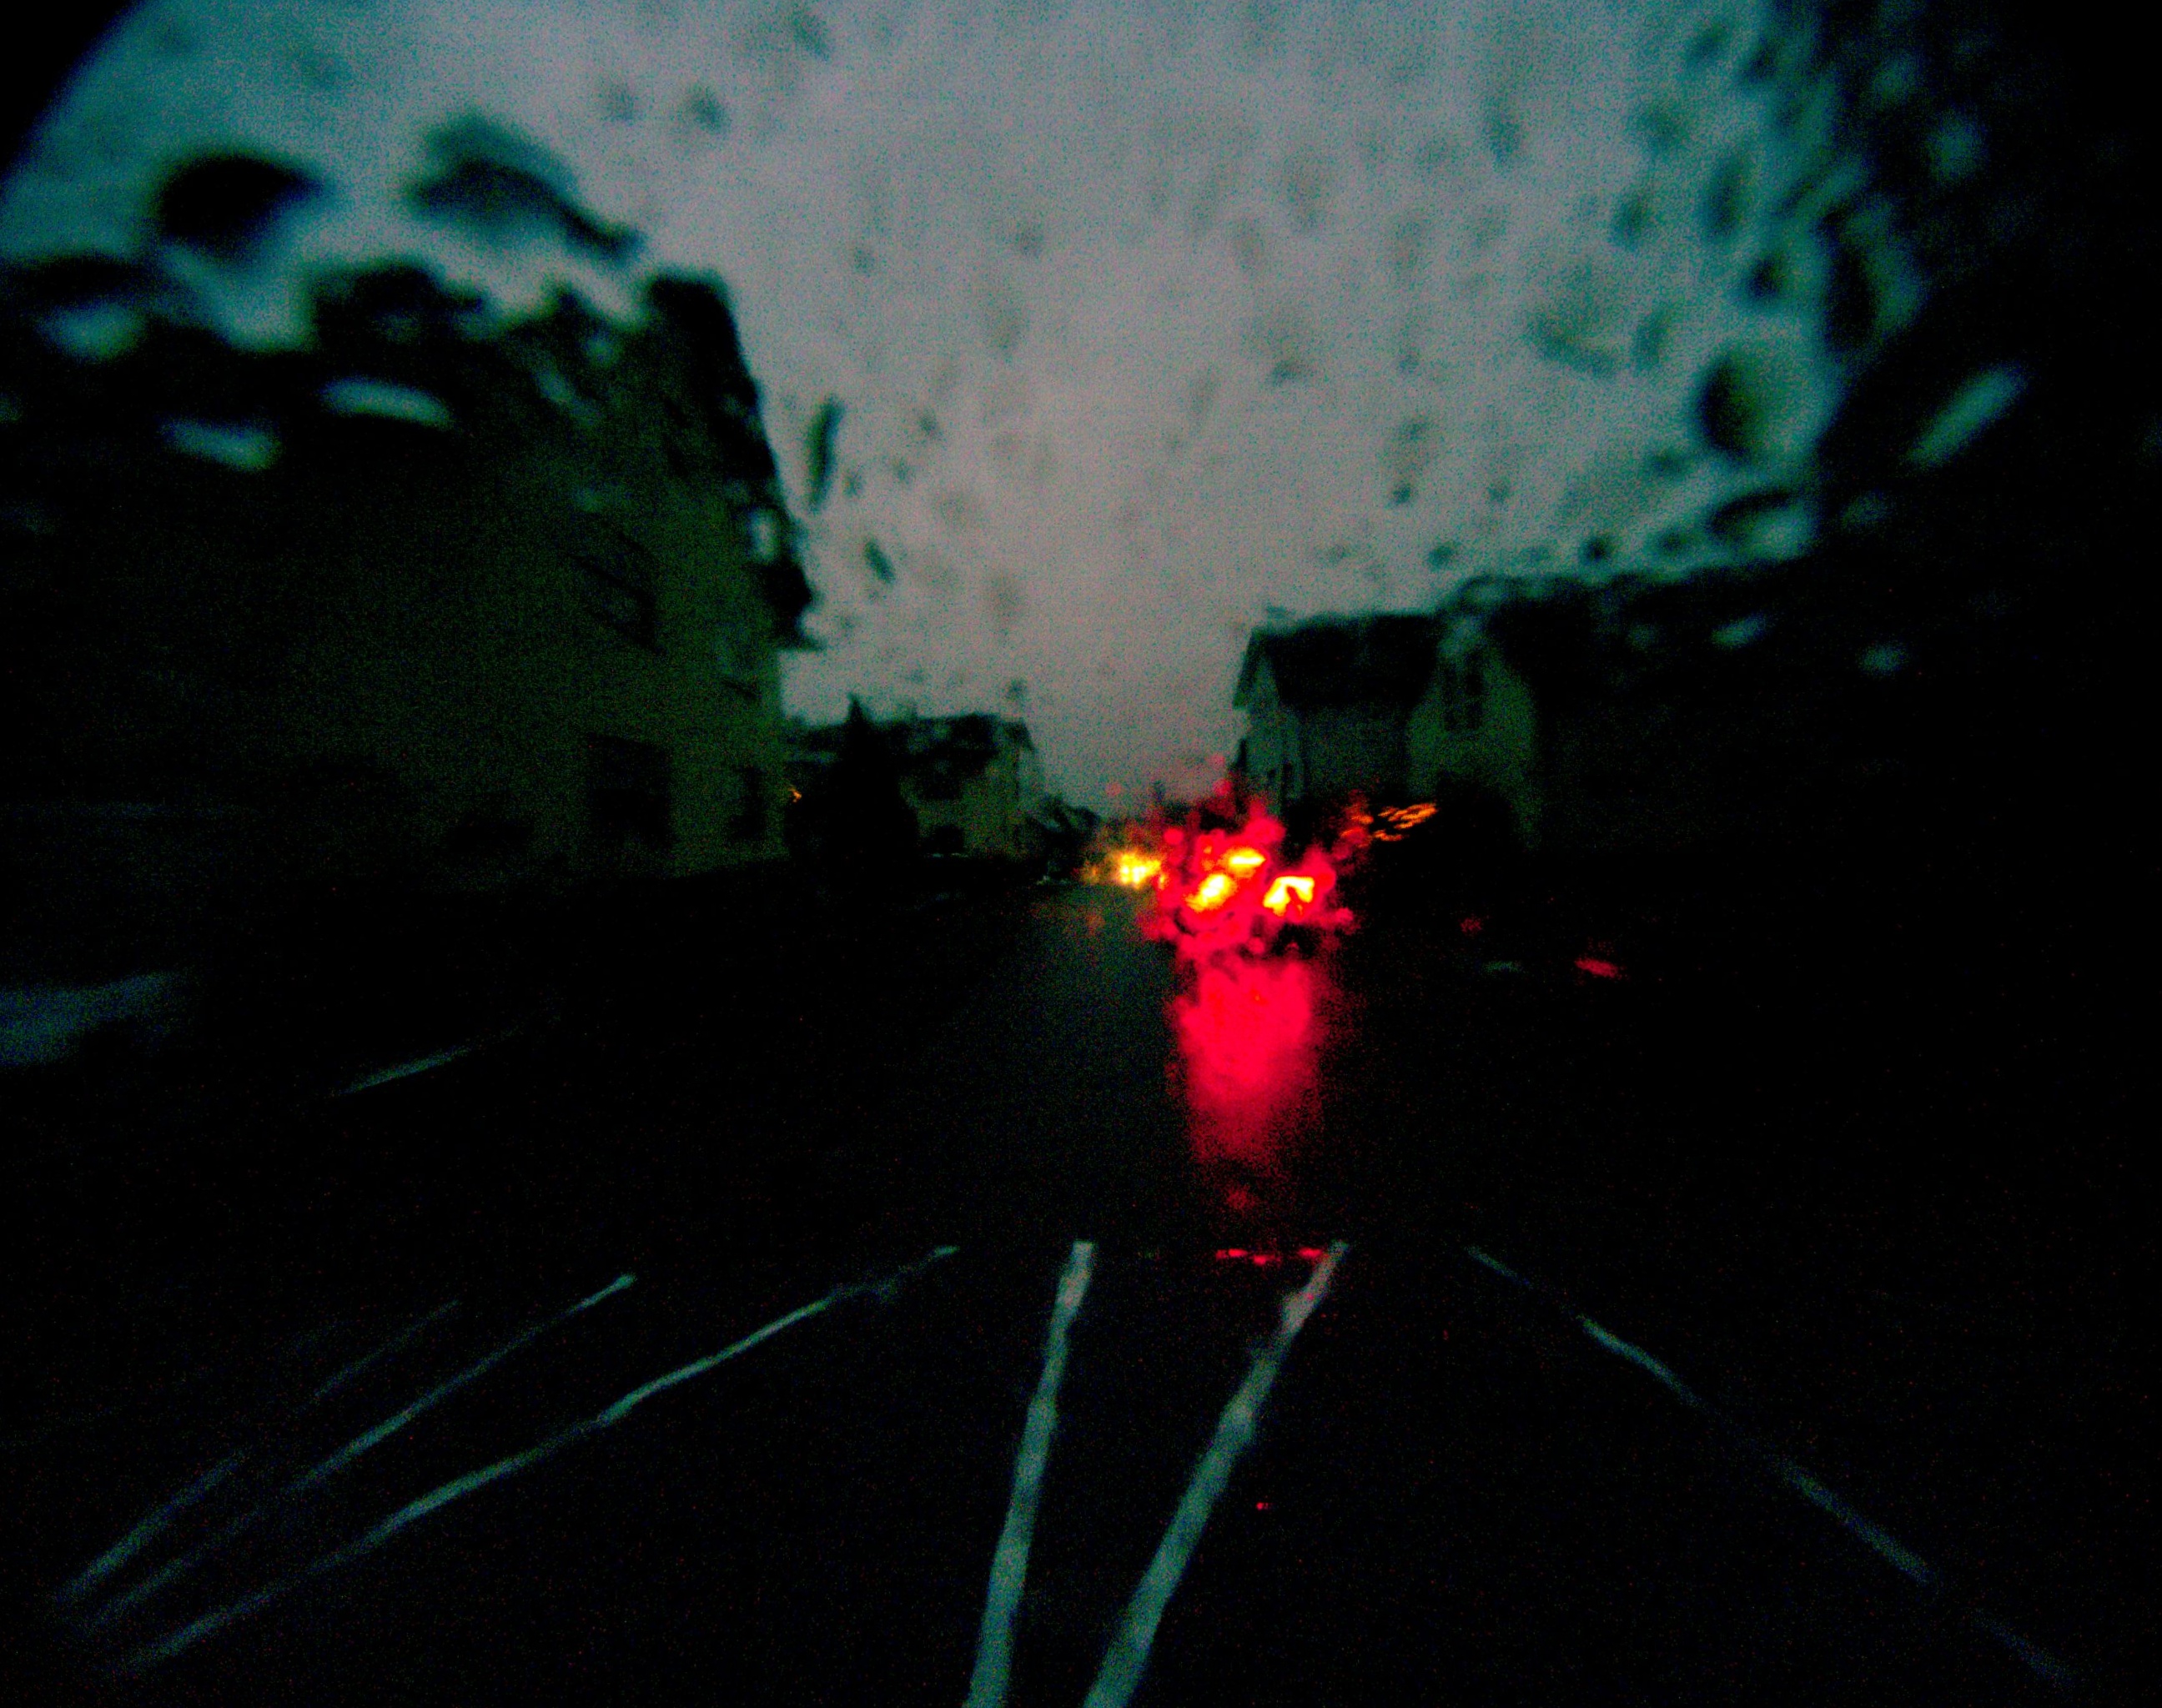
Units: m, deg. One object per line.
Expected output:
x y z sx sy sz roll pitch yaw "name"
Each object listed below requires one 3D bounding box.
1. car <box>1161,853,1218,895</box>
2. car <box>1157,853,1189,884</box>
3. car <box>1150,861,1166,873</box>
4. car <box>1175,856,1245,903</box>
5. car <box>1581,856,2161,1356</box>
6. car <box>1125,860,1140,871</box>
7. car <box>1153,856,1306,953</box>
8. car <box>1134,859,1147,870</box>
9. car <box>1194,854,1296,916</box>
4.560 0.801 32.521 1.922 1.614 4.423 -1 0 1 "car"
5.611 0.899 46.931 1.775 1.781 4.130 -1 -1 5 "car"
9.537 1.569 94.744 1.720 1.403 3.731 -1 0 2 "car"
4.213 0.780 25.429 1.738 1.428 4.035 -1 0 1 "car"
4.101 0.777 3.079 1.669 1.409 3.690 -4 0 0 "car"
7.087 1.583 103.886 1.755 1.486 4.252 -1 0 7 "car"
2.555 0.802 14.155 1.778 1.486 4.378 -1 0 -3 "car"
9.623 1.655 122.979 1.793 1.763 3.892 -1 0 10 "car"
4.275 0.756 20.452 1.738 1.435 4.439 -2 0 0 "car"
